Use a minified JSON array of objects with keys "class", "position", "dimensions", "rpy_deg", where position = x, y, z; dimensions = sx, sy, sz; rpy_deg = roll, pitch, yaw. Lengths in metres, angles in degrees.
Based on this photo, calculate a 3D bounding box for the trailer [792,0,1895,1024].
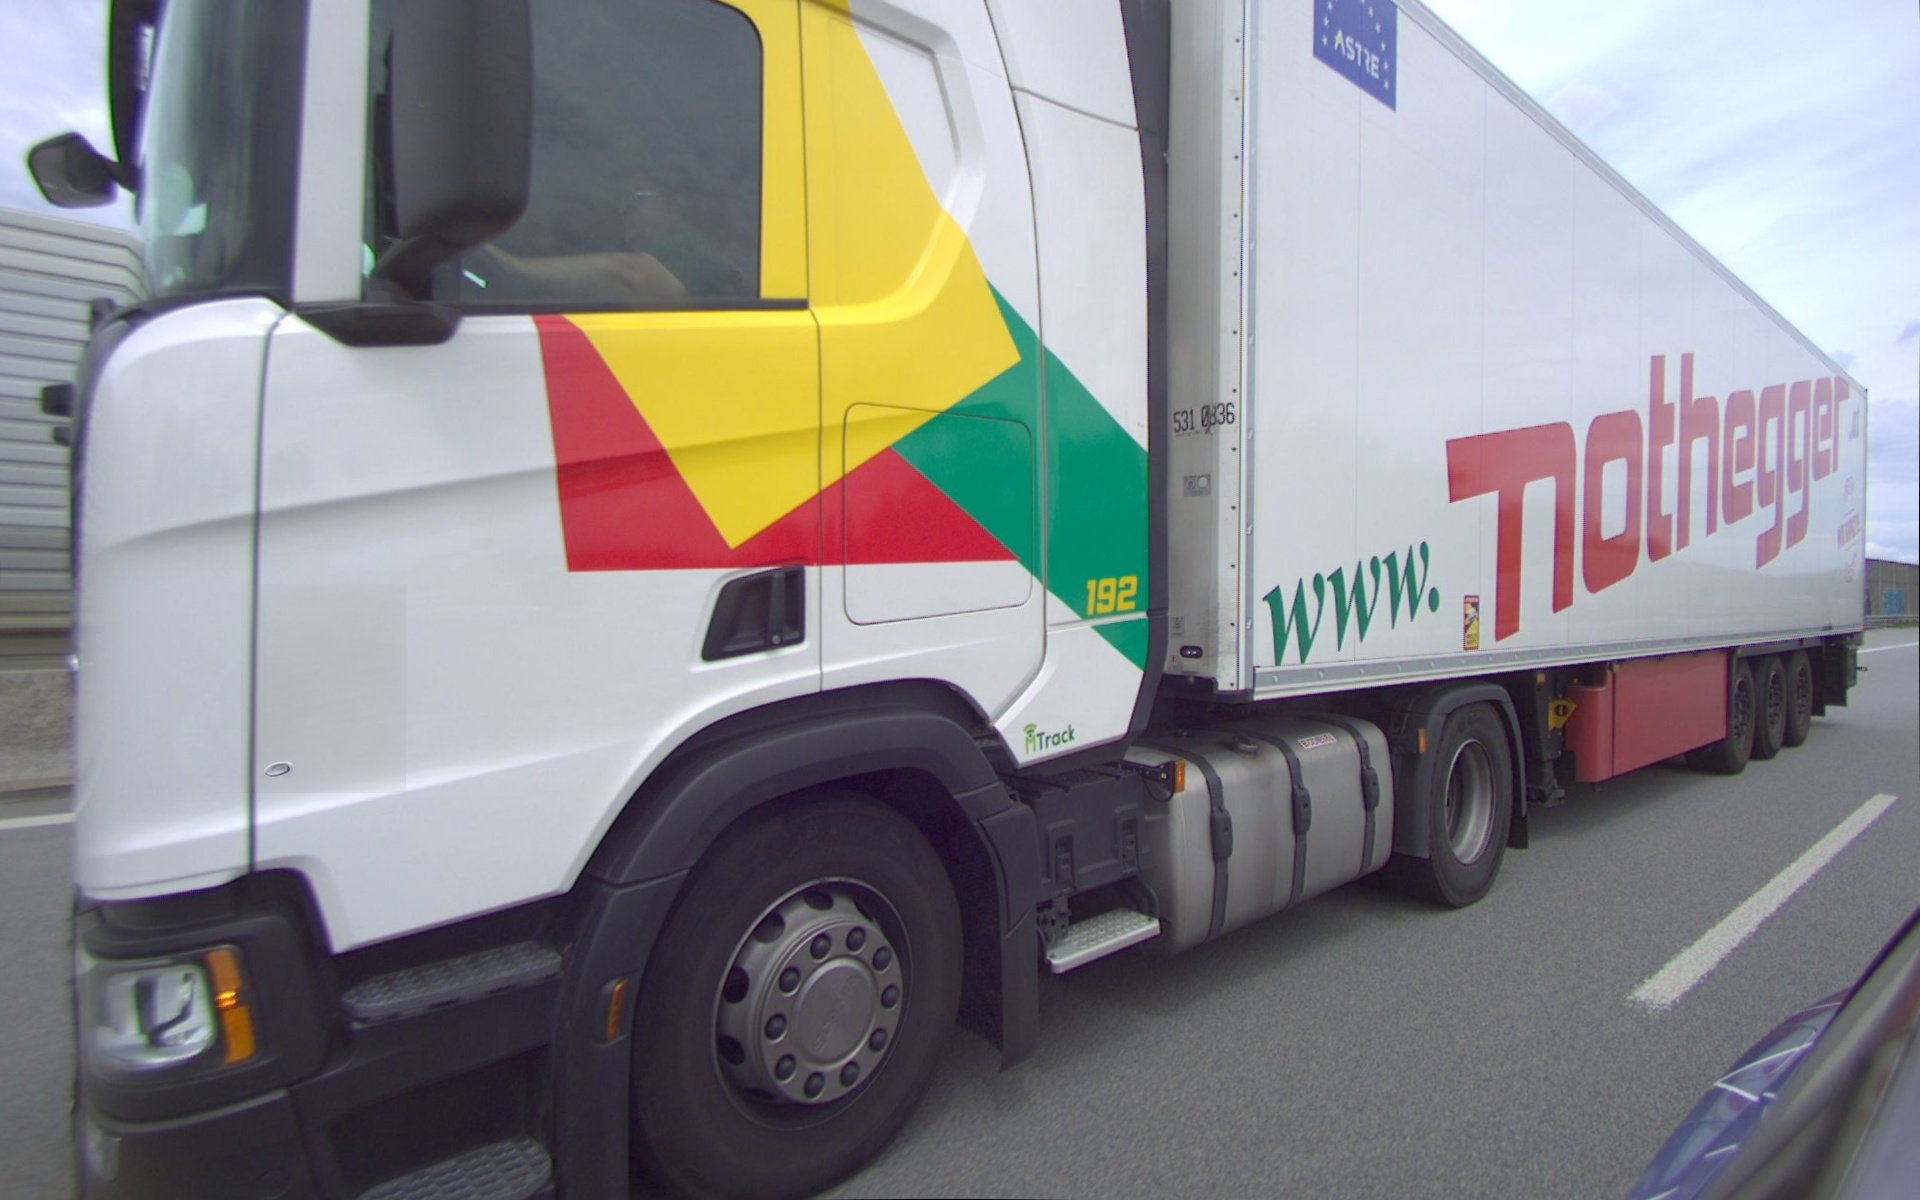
[{"class":"trailer","position":[5.257,-0.770,8.833],"dimensions":[13.856,4.227,2.797],"rpy_deg":[0,0,-41]}]

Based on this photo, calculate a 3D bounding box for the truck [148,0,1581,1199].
[{"class":"truck","position":[0.103,-0.659,4.376],"dimensions":[5.576,4.009,2.762],"rpy_deg":[0,0,-40]}]
